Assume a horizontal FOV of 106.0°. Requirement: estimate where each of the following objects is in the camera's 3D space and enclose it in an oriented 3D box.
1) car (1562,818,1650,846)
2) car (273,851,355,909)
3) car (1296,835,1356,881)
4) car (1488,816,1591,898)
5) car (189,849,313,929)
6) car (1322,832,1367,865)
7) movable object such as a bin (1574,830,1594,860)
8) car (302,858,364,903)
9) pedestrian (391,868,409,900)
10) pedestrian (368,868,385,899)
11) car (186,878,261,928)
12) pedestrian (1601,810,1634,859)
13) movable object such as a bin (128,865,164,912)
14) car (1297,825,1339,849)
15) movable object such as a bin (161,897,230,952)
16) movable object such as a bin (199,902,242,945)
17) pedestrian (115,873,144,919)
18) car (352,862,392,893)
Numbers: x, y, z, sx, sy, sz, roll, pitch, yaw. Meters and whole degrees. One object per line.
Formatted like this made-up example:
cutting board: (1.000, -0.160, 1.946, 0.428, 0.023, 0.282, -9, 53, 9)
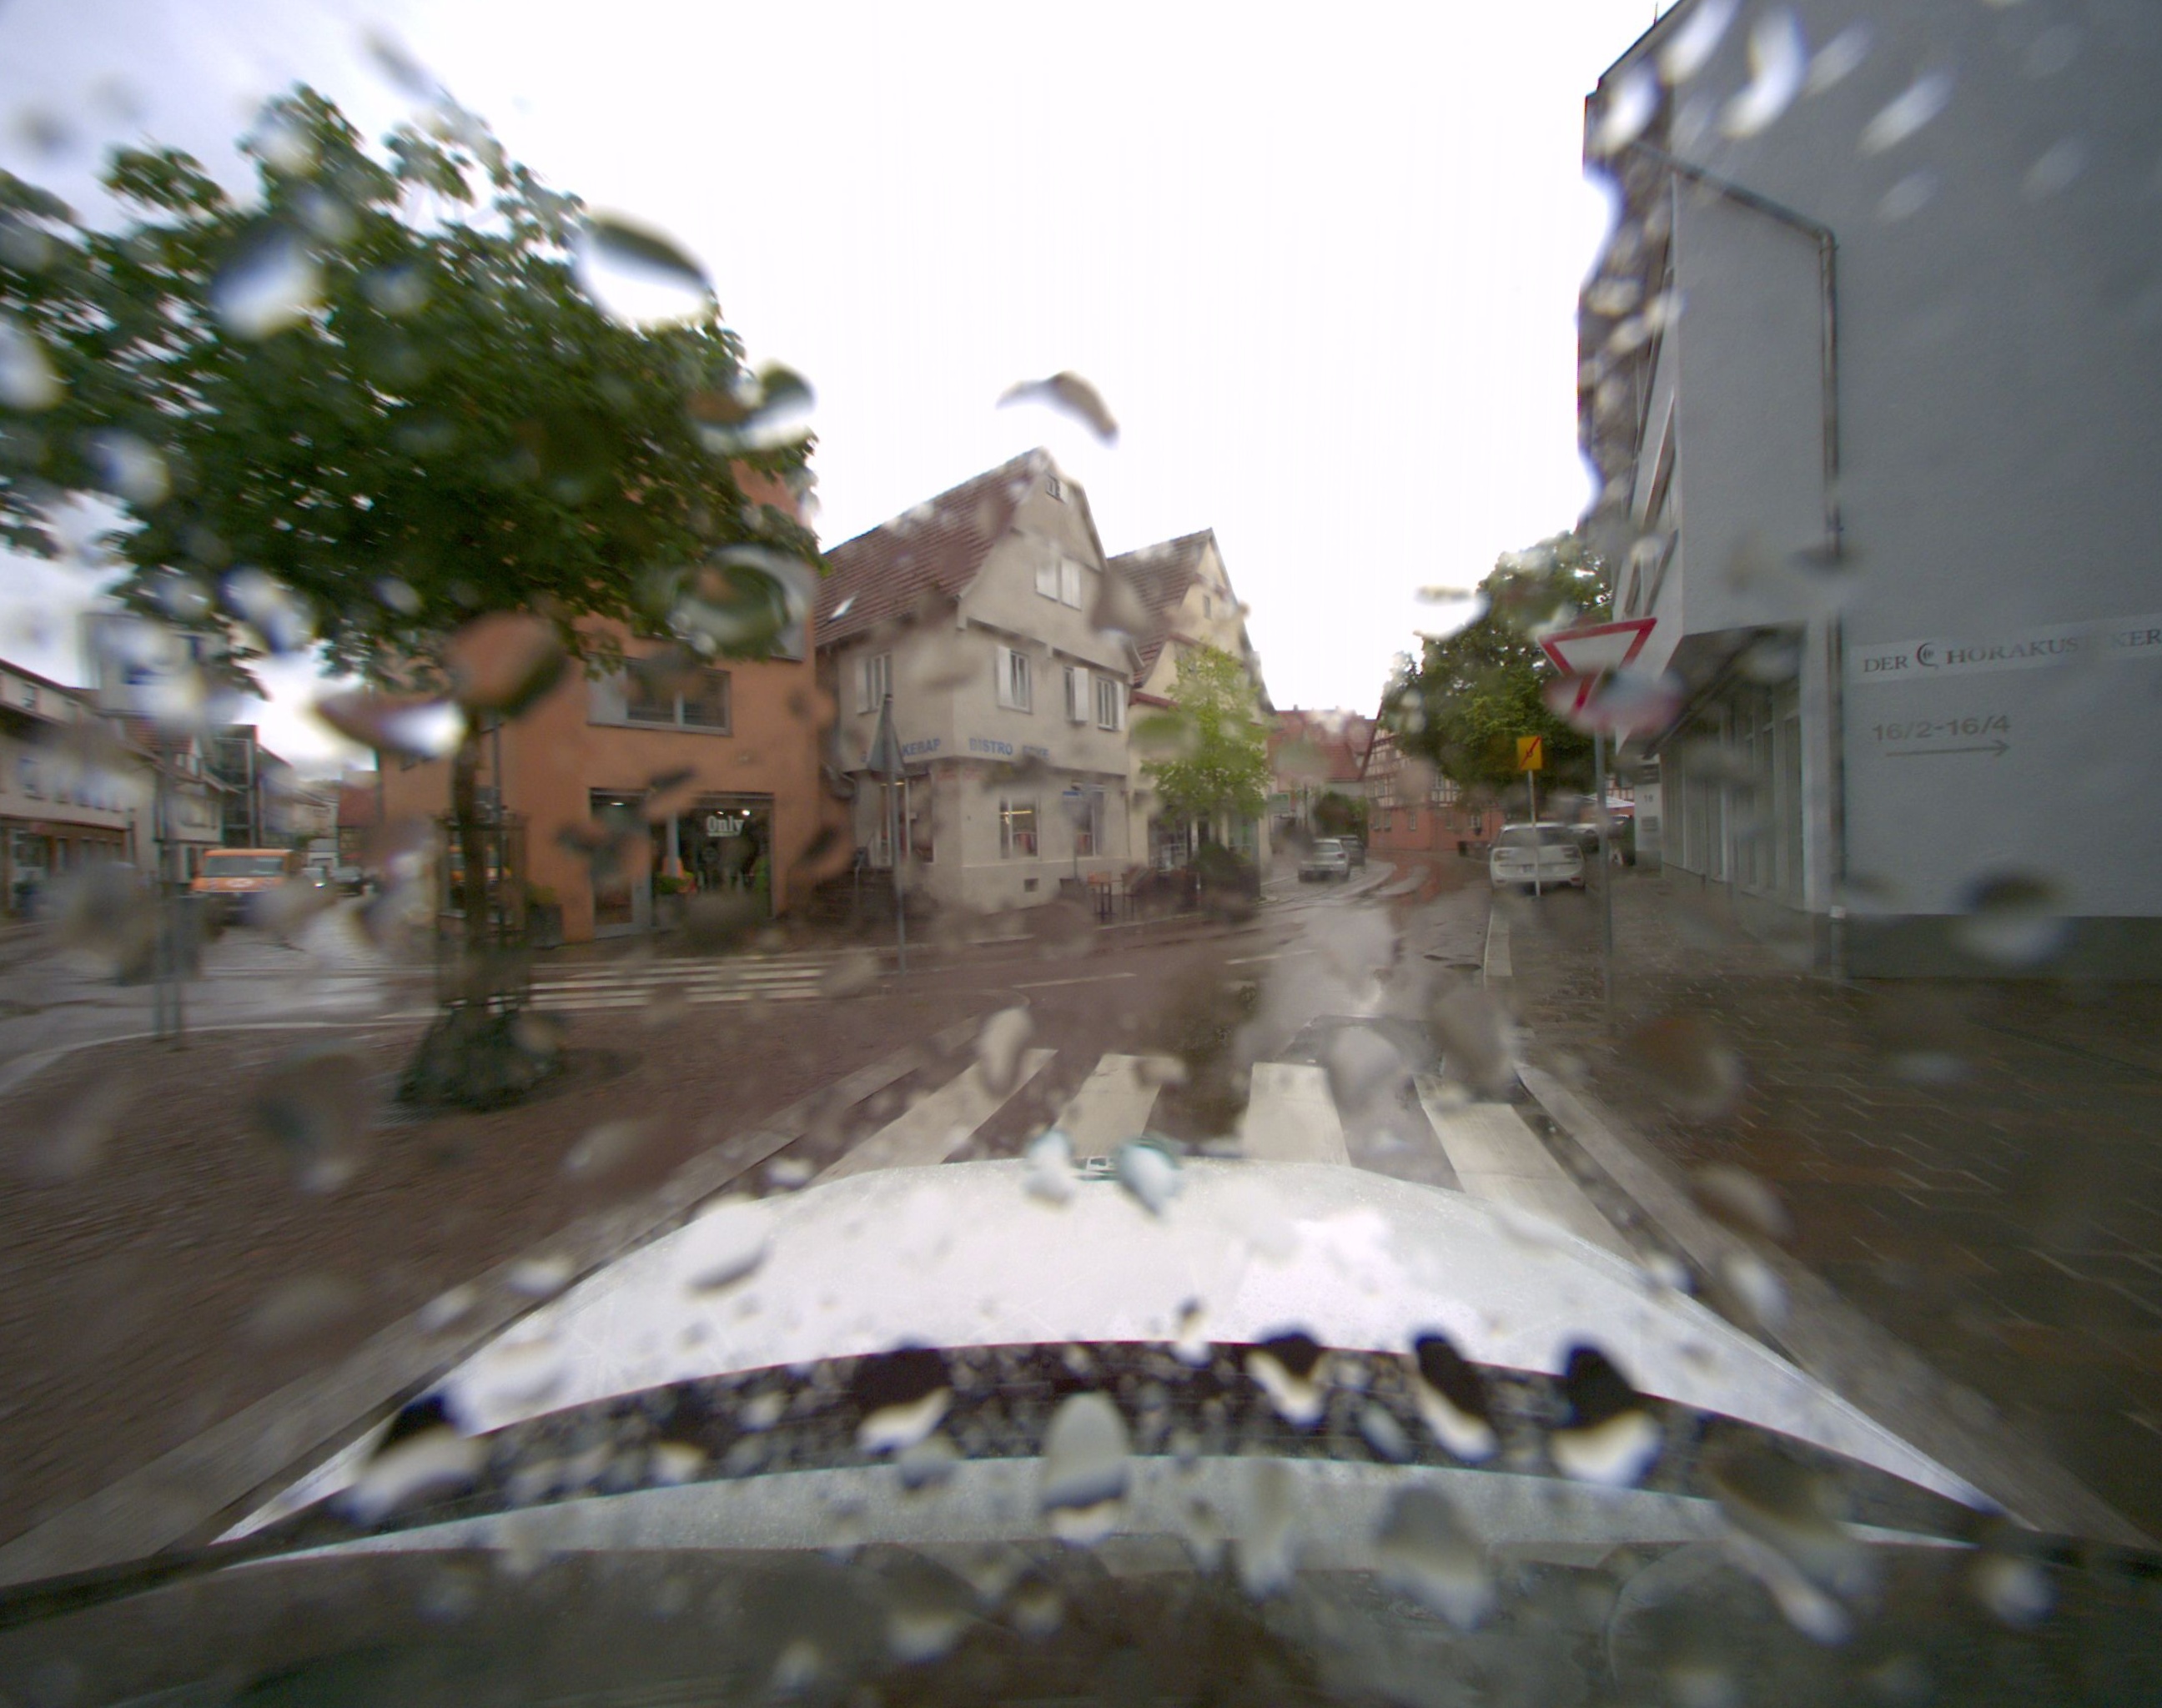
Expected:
car: (34.380, -1.463, 53.350, 4.593, 1.633, 1.997, -3, 2, -5)
car: (-33.271, 1.080, 35.500, 2.222, 2.299, 5.891, 0, -1, -40)
car: (8.986, 0.093, 29.706, 1.833, 1.451, 4.094, -1, 2, 20)
car: (10.376, 0.081, 18.703, 1.771, 1.639, 4.466, -1, -1, 26)
car: (-26.571, 1.042, 26.295, 2.222, 2.299, 5.891, 0, -1, -40)
car: (12.963, -0.241, 40.292, 1.861, 1.540, 4.417, -1, -1, 15)
movable object such as a bin: (19.169, -0.346, 31.030, 0.533, 1.083, 0.732, -4, 1, 26)
car: (-41.238, 1.427, 45.023, 2.222, 2.299, 5.891, 0, -1, -40)
pedestrian: (-38.520, 1.675, 46.034, 0.758, 1.793, 0.792, 0, -1, -42)
pedestrian: (-41.857, 1.746, 48.393, 0.758, 1.793, 0.792, 0, -1, -42)
car: (-38.109, 2.121, 36.288, 2.011, 2.014, 4.342, 0, -1, -43)
pedestrian: (19.315, -0.676, 29.313, 0.876, 1.713, 0.895, -1, -1, 40)
movable object such as a bin: (-41.096, 1.497, 35.787, 0.817, 2.014, 1.019, -2, -1, 41)
car: (18.255, -1.321, 62.912, 1.890, 1.811, 3.995, 0, 2, -4)
movable object such as a bin: (-20.127, 1.579, 18.515, 0.765, 1.158, 0.955, -1, -1, 34)
movable object such as a bin: (-21.450, 1.723, 20.297, 0.579, 0.999, 0.657, -1, -1, 35)
pedestrian: (-38.388, 1.670, 32.854, 0.792, 1.793, 0.759, -1, -1, 39)
car: (-56.081, 1.821, 64.500, 2.222, 2.299, 5.891, 0, -1, -40)
